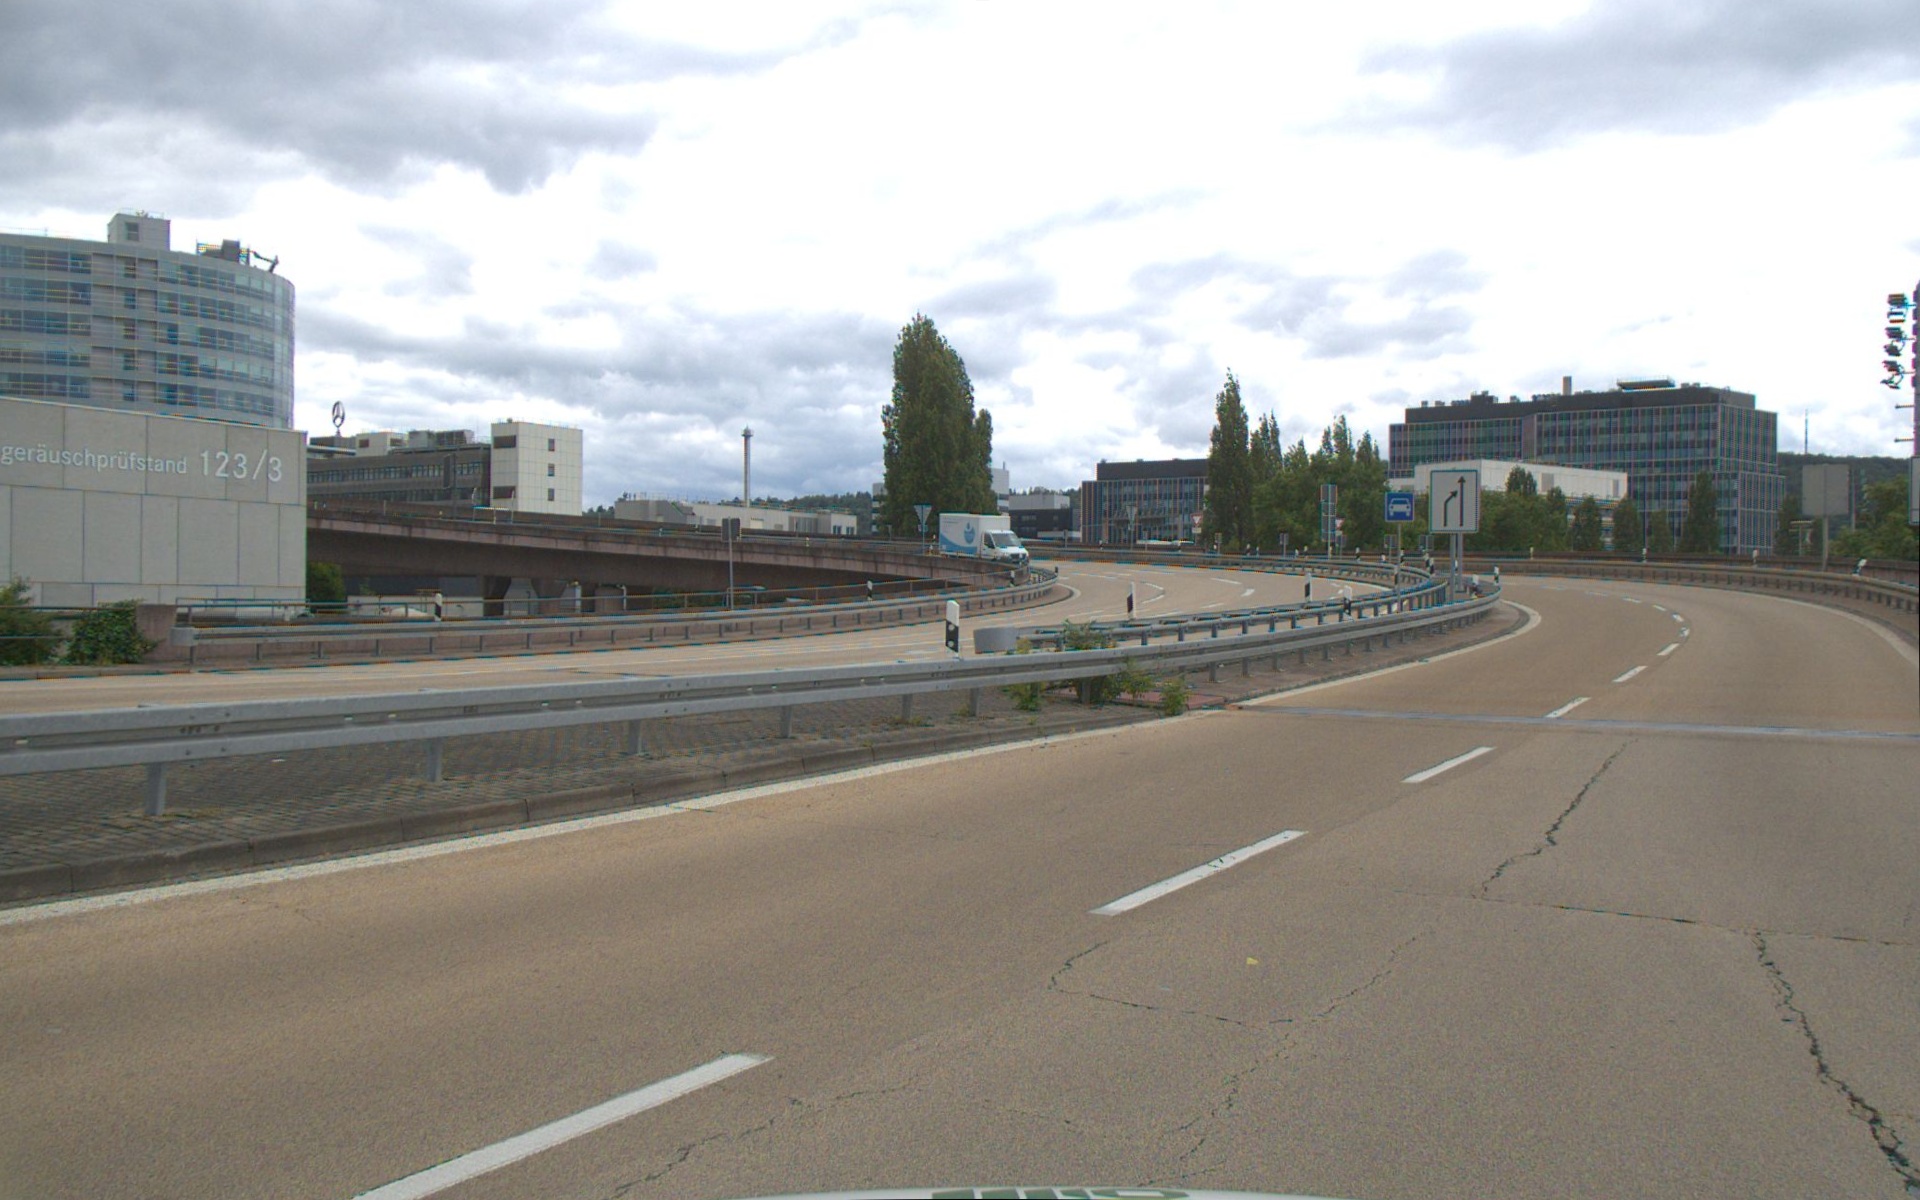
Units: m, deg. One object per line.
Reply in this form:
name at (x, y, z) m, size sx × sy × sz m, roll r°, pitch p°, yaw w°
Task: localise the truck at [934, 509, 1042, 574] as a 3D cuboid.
truck at (1.502, -3.352, 93.500) m, size 2.327 × 3.319 × 6.908 m, roll 2°, pitch 3°, yaw -36°
